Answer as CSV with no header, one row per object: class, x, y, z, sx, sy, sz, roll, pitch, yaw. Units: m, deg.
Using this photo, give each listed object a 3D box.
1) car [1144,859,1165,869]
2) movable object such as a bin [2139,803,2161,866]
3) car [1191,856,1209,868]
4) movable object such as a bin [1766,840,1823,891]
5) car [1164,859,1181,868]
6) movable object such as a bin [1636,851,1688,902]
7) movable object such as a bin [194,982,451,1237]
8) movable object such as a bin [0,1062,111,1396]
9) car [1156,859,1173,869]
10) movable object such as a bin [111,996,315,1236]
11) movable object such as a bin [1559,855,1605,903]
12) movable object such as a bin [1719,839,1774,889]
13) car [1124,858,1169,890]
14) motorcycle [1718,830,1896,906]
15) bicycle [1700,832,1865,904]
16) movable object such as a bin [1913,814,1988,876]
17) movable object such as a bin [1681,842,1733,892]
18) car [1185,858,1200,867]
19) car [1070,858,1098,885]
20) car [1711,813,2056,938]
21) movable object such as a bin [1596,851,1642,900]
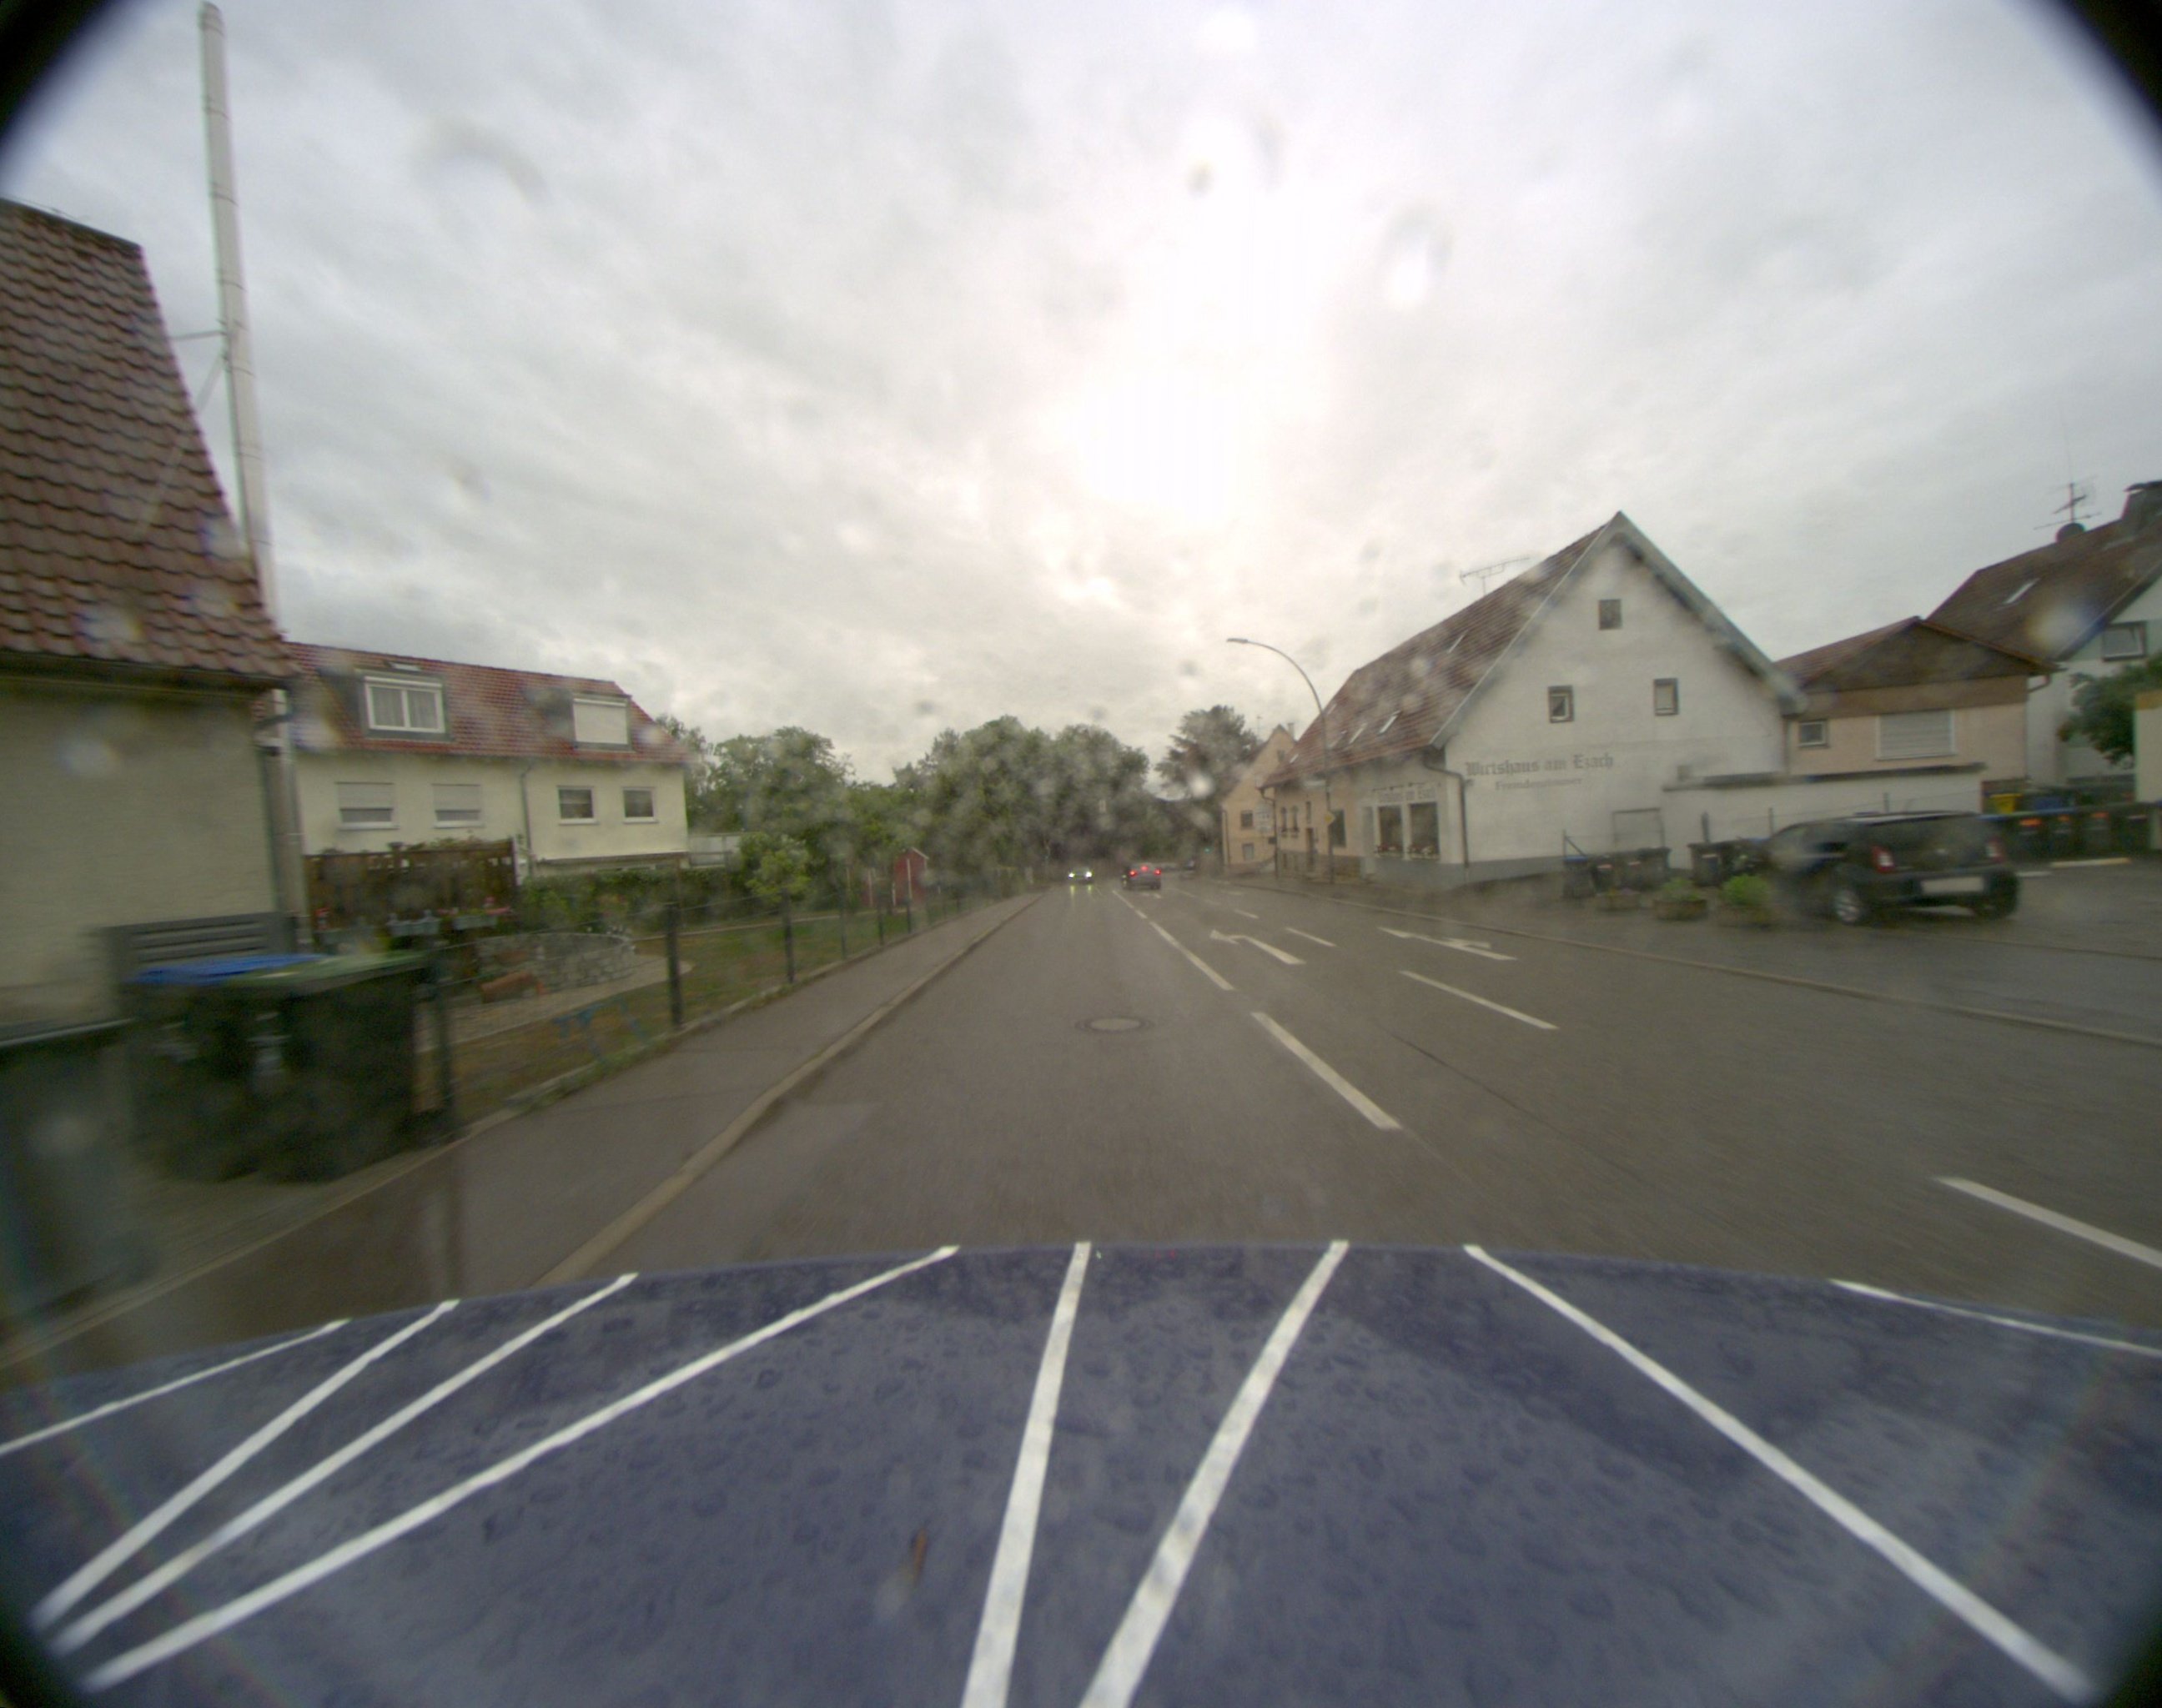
car,11.125,1.553,114.453,1.996,1.410,4.491,-1,-1,20
movable object such as a bin,18.742,-0.340,12.896,0.670,1.072,0.625,-2,0,23
car,19.431,1.310,124.287,1.996,1.695,4.006,-2,-1,21
movable object such as a bin,14.767,0.232,15.740,0.639,1.026,0.605,-2,0,14
car,15.057,1.529,124.855,1.761,1.410,4.159,-1,0,19
movable object such as a bin,12.540,0.477,16.413,0.639,1.026,0.605,-5,0,14
movable object such as a bin,-3.805,1.225,3.855,0.530,1.015,0.734,-2,0,19
movable object such as a bin,-3.831,1.260,2.477,0.628,1.015,0.541,-2,0,6
car,13.194,1.552,119.849,1.761,1.410,4.160,-1,0,21
movable object such as a bin,-4.401,1.286,3.875,0.443,1.015,0.525,-2,0,18
movable object such as a bin,11.130,0.539,16.893,0.639,1.026,0.674,-2,0,14
movable object such as a bin,13.971,0.204,15.969,0.639,1.026,0.605,-2,0,14
car,3.461,1.044,40.828,1.949,1.564,4.226,-2,-1,-1
motorcycle,12.912,0.250,13.595,2.113,1.107,0.781,-7,1,17
bicycle,13.113,0.256,14.282,2.101,1.107,0.738,-6,1,17
movable object such as a bin,17.140,-0.166,14.992,0.639,1.123,0.605,-8,-1,14
movable object such as a bin,13.297,0.281,16.154,0.639,1.026,0.605,-2,0,14
car,20.249,1.487,137.729,1.831,1.620,4.159,-1,0,20
car,0.264,1.452,63.111,1.998,2.002,4.000,-3,0,3
car,11.514,0.273,11.360,1.904,1.433,3.833,-5,-1,19
movable object such as a bin,11.768,0.466,16.639,0.639,1.026,0.605,-2,0,14
